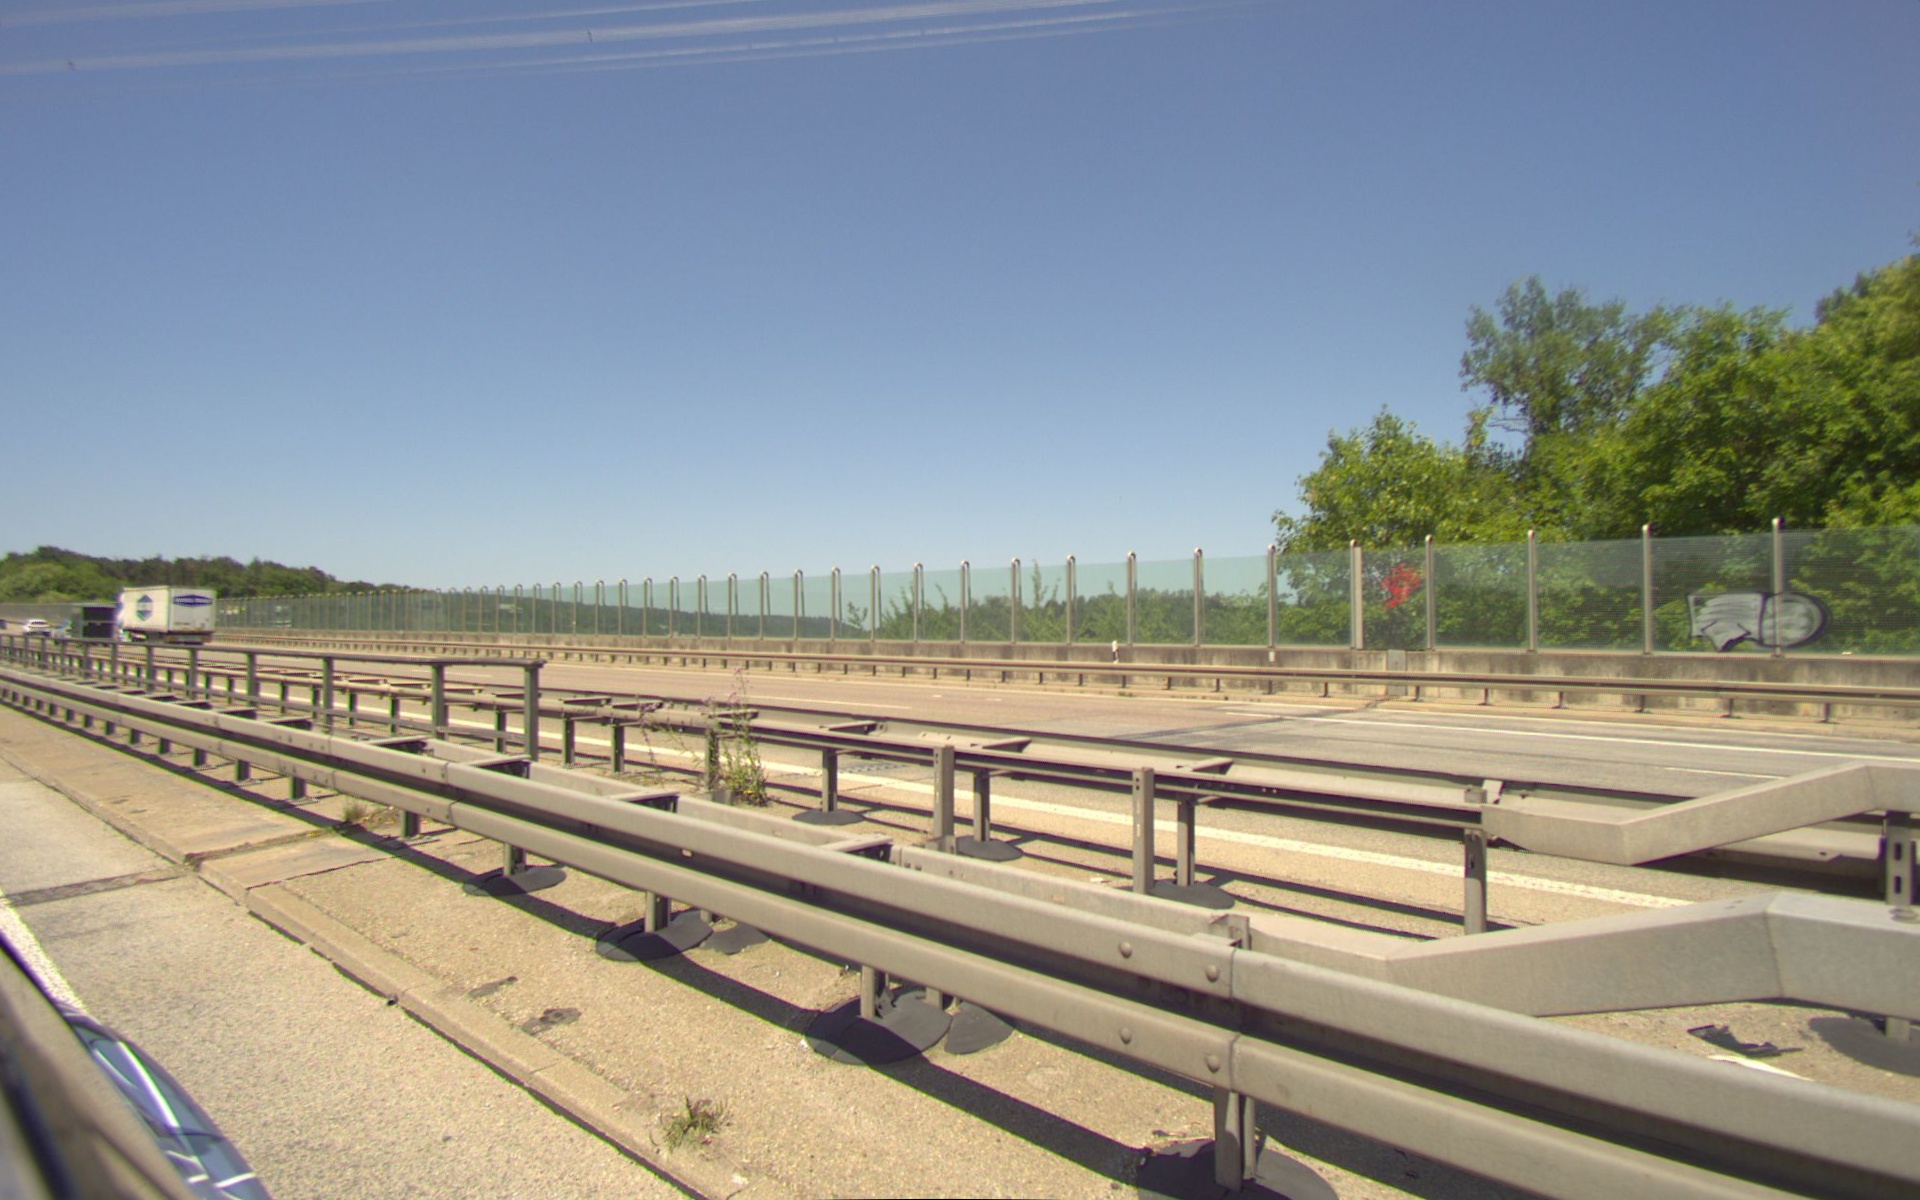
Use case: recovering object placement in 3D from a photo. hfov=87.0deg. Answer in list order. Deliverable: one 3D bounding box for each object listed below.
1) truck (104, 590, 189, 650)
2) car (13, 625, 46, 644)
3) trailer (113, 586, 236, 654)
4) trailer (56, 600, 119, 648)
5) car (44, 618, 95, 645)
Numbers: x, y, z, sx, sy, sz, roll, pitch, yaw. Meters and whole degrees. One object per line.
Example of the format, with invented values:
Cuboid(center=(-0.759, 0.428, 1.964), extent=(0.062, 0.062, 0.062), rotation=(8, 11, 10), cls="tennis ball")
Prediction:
Cuboid(center=(-59.995, 1.469, 74.631), extent=(4.855, 4.260, 3.965), rotation=(0, -1, 40), cls="truck")
Cuboid(center=(-86.684, 3.205, 94.258), extent=(4.383, 1.709, 1.731), rotation=(-1, -2, 41), cls="car")
Cuboid(center=(-54.186, 1.374, 69.570), extent=(14.033, 4.267, 3.947), rotation=(-1, -2, 41), cls="trailer")
Cuboid(center=(-54.826, 1.513, 63.569), extent=(5.374, 2.798, 2.143), rotation=(-1, -4, 41), cls="trailer")
Cuboid(center=(-58.640, 2.092, 66.630), extent=(4.626, 1.638, 1.851), rotation=(-2, -4, 41), cls="car")
